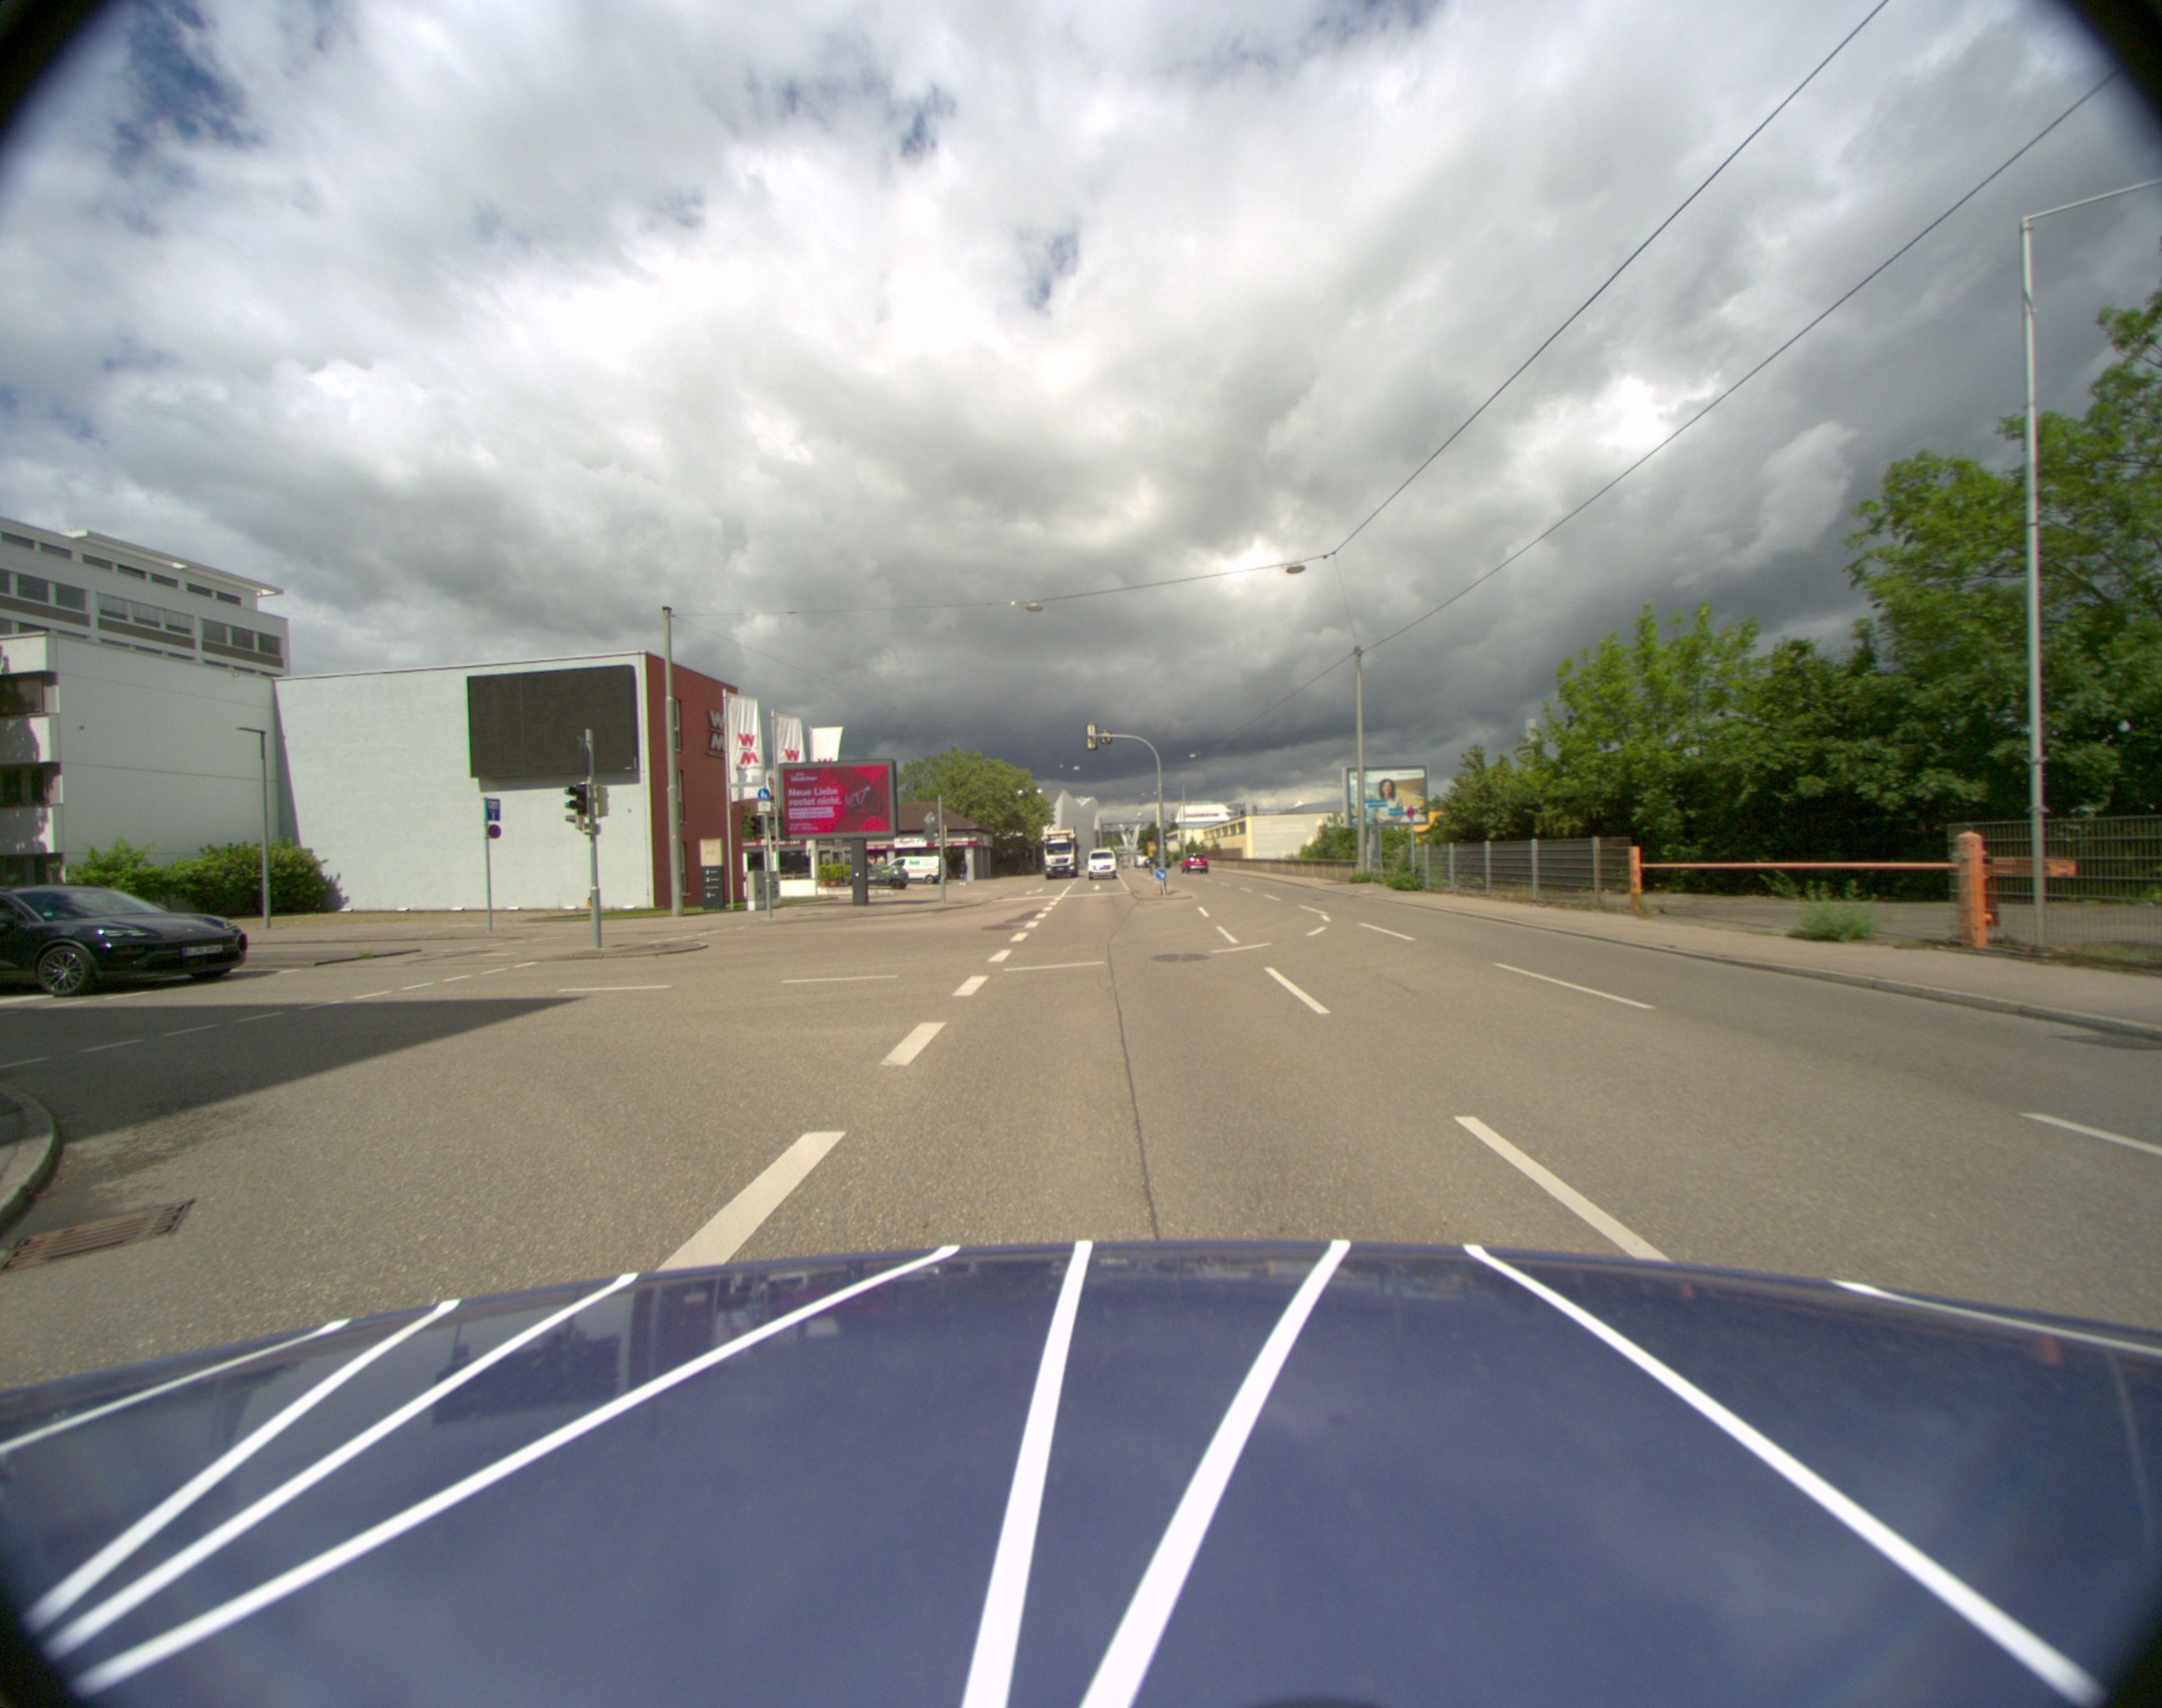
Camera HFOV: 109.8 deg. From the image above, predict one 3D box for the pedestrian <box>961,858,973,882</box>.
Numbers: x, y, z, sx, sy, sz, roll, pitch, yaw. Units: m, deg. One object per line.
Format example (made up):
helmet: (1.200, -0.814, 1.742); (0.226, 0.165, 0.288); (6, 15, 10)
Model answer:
pedestrian: (-7.992, 1.110, 53.313); (0.714, 1.697, 0.739); (-1, 1, 2)

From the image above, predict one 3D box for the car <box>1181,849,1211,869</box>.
car: (9.085, 0.388, 60.308); (1.935, 1.590, 4.153); (0, 0, 2)

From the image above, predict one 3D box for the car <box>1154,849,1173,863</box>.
car: (9.947, 0.225, 91.742); (1.860, 1.608, 4.000); (-2, 0, 2)

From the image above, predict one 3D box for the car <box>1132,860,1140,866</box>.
car: (13.779, 2.233, 189.420); (1.612, 1.404, 3.800); (0, -1, 0)

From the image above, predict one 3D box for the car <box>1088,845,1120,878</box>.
car: (1.561, 0.457, 50.480); (1.935, 2.078, 4.209); (-1, 0, 4)

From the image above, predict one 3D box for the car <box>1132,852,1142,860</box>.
car: (11.084, 0.414, 150.281); (1.612, 1.404, 3.799); (-2, 0, 0)

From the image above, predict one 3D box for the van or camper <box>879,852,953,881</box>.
van or camper: (-11.983, 0.896, 55.368); (4.909, 1.946, 2.212); (1, 1, 2)

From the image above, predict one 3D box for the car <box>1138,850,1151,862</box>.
car: (11.259, 0.273, 134.705); (1.896, 2.002, 5.650); (-2, 0, 1)

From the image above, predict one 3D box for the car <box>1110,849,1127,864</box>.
car: (4.625, 0.298, 93.525); (1.870, 1.782, 4.208); (-2, 0, 1)

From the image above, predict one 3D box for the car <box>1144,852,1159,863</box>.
car: (10.365, 0.487, 111.621); (1.860, 1.608, 4.000); (-2, 0, 2)

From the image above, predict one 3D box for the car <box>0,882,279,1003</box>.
car: (-16.000, 1.353, 11.936); (4.651, 1.609, 2.000); (-2, 0, 1)

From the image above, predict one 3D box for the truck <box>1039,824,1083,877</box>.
truck: (-1.478, -0.264, 62.419); (2.836, 3.889, 10.367); (-2, 0, 3)

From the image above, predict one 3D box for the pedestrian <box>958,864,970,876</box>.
pedestrian: (-13.446, 1.831, 87.619); (0.884, 1.241, 0.967); (-2, 0, 30)

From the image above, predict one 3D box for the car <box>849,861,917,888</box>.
car: (-12.294, 1.234, 47.218); (3.675, 1.477, 1.762); (2, 1, 4)

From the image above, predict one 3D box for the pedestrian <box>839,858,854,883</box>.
pedestrian: (-16.047, 1.139, 52.093); (0.749, 1.697, 0.571); (-1, 1, 29)
